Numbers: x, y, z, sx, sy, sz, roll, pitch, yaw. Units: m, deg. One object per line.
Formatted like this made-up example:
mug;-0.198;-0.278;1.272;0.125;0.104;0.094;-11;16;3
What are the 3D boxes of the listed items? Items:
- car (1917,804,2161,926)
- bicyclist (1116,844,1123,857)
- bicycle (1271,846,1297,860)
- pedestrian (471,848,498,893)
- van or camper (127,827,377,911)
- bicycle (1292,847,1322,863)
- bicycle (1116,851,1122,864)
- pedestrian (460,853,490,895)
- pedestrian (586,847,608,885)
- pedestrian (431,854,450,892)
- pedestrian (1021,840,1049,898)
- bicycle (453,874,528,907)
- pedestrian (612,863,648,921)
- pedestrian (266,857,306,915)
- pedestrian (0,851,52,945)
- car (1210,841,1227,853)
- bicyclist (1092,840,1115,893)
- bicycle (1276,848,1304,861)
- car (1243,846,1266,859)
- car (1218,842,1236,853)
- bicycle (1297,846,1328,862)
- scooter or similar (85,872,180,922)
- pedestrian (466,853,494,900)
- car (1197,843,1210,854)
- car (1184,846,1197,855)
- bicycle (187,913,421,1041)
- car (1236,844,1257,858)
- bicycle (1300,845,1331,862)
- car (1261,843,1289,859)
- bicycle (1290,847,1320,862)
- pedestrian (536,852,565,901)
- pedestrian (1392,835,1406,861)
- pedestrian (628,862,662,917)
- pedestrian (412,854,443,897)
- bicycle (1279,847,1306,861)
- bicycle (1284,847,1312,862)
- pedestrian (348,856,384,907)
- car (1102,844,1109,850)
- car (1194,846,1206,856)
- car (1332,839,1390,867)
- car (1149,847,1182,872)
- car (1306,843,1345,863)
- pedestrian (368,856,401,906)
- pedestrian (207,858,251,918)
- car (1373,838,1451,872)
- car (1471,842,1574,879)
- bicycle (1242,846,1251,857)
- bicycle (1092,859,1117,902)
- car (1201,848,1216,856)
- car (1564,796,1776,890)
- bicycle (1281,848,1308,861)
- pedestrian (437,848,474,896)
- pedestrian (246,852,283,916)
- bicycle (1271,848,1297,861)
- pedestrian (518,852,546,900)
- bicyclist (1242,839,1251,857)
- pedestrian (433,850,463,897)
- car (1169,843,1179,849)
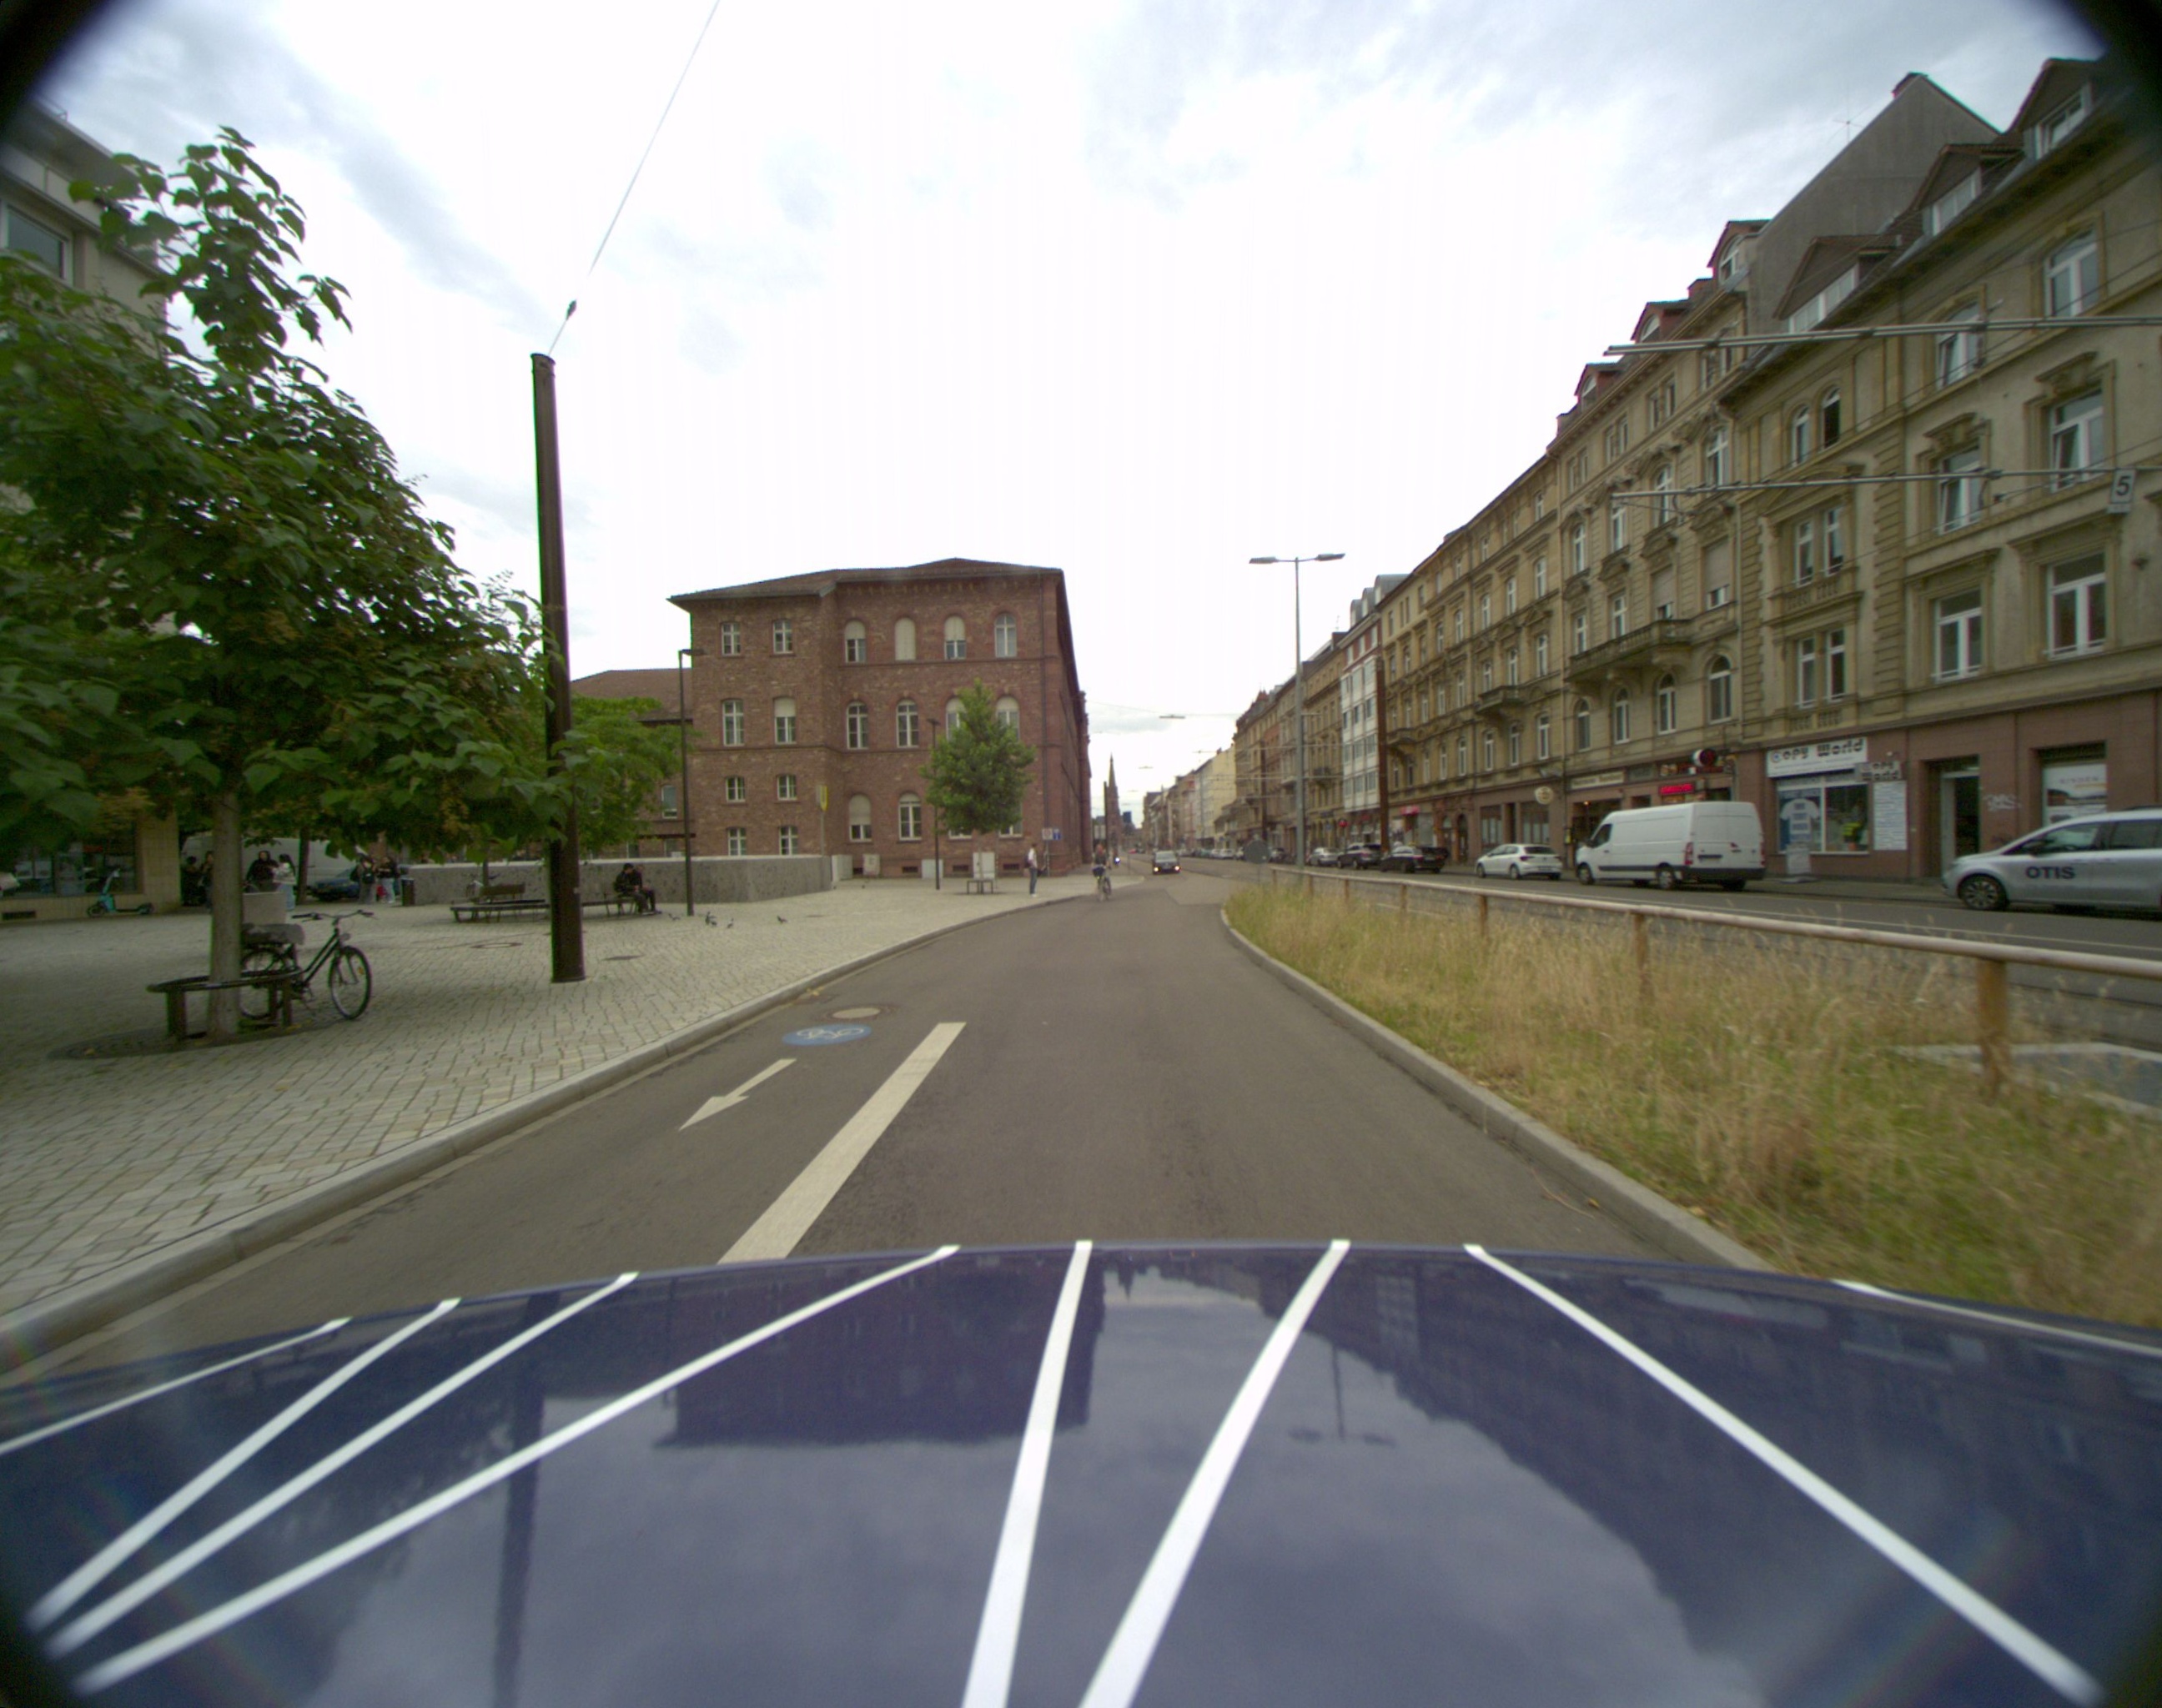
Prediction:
car;17.307;0.155;12.593;1.907;1.854;4.520;0;1;0
bicyclist;3.483;-0.287;68.541;0.587;1.164;0.662;-2;1;1
bicycle;19.088;-0.102;71.535;2.287;1.196;0.547;-2;1;2
pedestrian;-22.236;0.627;28.318;0.513;1.661;0.592;-1;0;23
van or camper;-30.880;0.468;28.811;1.998;2.704;6.560;-3;1;2
bicycle;18.804;0.060;63.163;2.287;1.322;0.666;0;1;2
bicycle;3.462;0.328;68.622;0.472;1.152;2.273;-2;1;1
pedestrian;-25.399;0.830;31.850;0.664;1.747;0.631;-3;1;-8
pedestrian;-21.142;0.522;33.202;0.513;1.661;0.592;-1;0;23
pedestrian;-28.259;0.834;33.526;0.535;1.612;0.662;-4;1;-37
pedestrian;-1.522;0.497;25.384;0.871;1.890;0.773;0;1;0
bicycle;-19.151;1.173;24.657;2.029;1.058;0.470;0;1;1
pedestrian;-11.849;0.981;19.978;0.781;1.447;0.766;0;1;-28
pedestrian;-22.075;0.872;21.099;0.592;1.577;0.642;-1;0;-31
pedestrian;-20.792;0.832;14.521;0.773;1.762;1.066;-1;1;-9
car;19.809;-0.992;109.574;1.828;1.512;4.545;-1;0;2
bicyclist;0.724;0.386;24.273;0.570;1.674;0.794;-2;1;10
bicycle;19.122;0.007;69.551;2.287;1.196;0.705;0;1;2
car;19.597;-0.192;85.932;1.748;1.480;3.921;-1;0;2
car;20.147;-0.917;104.910;1.748;1.456;4.046;-1;0;1
bicycle;18.664;-0.004;61.255;2.287;1.322;0.521;0;1;2
scooter or similar;-24.527;1.092;19.682;0.500;1.197;1.439;1;1;26
pedestrian;-21.515;0.786;27.203;0.513;1.661;0.592;-1;0;22
car;20.831;-0.962;129.030;1.706;1.747;3.920;-1;1;3
car;21.670;-0.701;150.334;1.928;1.722;3.826;-3;1;1
bicycle;-7.652;1.195;7.497;1.917;1.116;0.645;-3;1;13
car;19.679;-0.346;90.405;1.748;1.663;4.046;-1;0;1
bicycle;18.690;-0.026;60.531;2.287;1.322;0.666;0;1;2
car;19.285;-0.299;75.773;1.748;1.524;4.225;-1;0;1
bicycle;18.839;0.036;63.990;2.287;1.322;0.666;0;1;2
pedestrian;-18.205;0.755;26.075;0.513;1.661;0.592;-1;0;22
pedestrian;21.587;-0.408;51.566;0.653;1.772;0.787;-2;1;38
pedestrian;-11.949;0.949;20.822;0.781;1.447;0.766;0;1;-28
pedestrian;-25.998;0.854;30.234;0.664;1.669;0.533;-3;1;-8
bicycle;19.144;0.012;68.774;2.287;1.196;0.666;0;1;2
bicycle;19.094;0.005;66.807;2.287;1.322;0.666;0;1;2
pedestrian;-23.538;0.911;25.019;0.642;1.661;0.592;-1;0;17
car;7.240;-1.977;221.935;1.835;1.652;4.000;-3;1;2
car;21.726;-0.579;139.252;1.704;1.662;4.181;-3;1;3
car;18.148;-0.070;49.498;1.818;1.680;5.030;-1;0;-1
car;5.514;0.311;50.025;1.747;1.538;3.650;-2;1;0
car;18.480;-0.063;57.573;1.748;1.480;3.920;-1;0;1
pedestrian;-23.795;0.913;25.974;0.642;1.661;0.592;-1;0;22
pedestrian;-22.982;0.902;20.506;0.592;1.577;0.642;-1;0;-31
car;17.525;0.006;40.518;1.924;1.679;5.051;1;1;0
car;17.859;0.227;31.010;1.775;1.414;4.164;1;1;0
bicycle;17.242;-0.250;79.118;0.586;1.167;2.045;0;1;3
bicycle;0.768;0.825;24.254;0.524;1.253;1.942;-1;1;9
car;20.874;-0.337;124.408;1.651;1.373;3.436;-1;0;-1
car;17.529;-0.322;23.142;2.058;2.472;5.665;1;1;1
bicycle;19.126;0.028;68.061;2.287;1.196;0.666;0;1;2
pedestrian;-27.126;0.764;32.954;0.759;2.002;0.820;-3;1;5
pedestrian;-22.880;0.825;21.293;0.590;1.758;0.645;-1;0;38
bicycle;18.931;0.021;70.857;2.287;1.196;0.705;0;1;2
pedestrian;-19.114;0.768;26.449;0.513;1.661;0.593;-1;0;25
bicyclist;17.217;-0.649;79.178;0.646;1.872;1.028;-3;1;3
pedestrian;-26.098;0.803;31.341;0.663;1.879;0.534;-3;1;-2
car;22.124;-1.895;180.811;1.867;1.553;4.000;0;1;2
